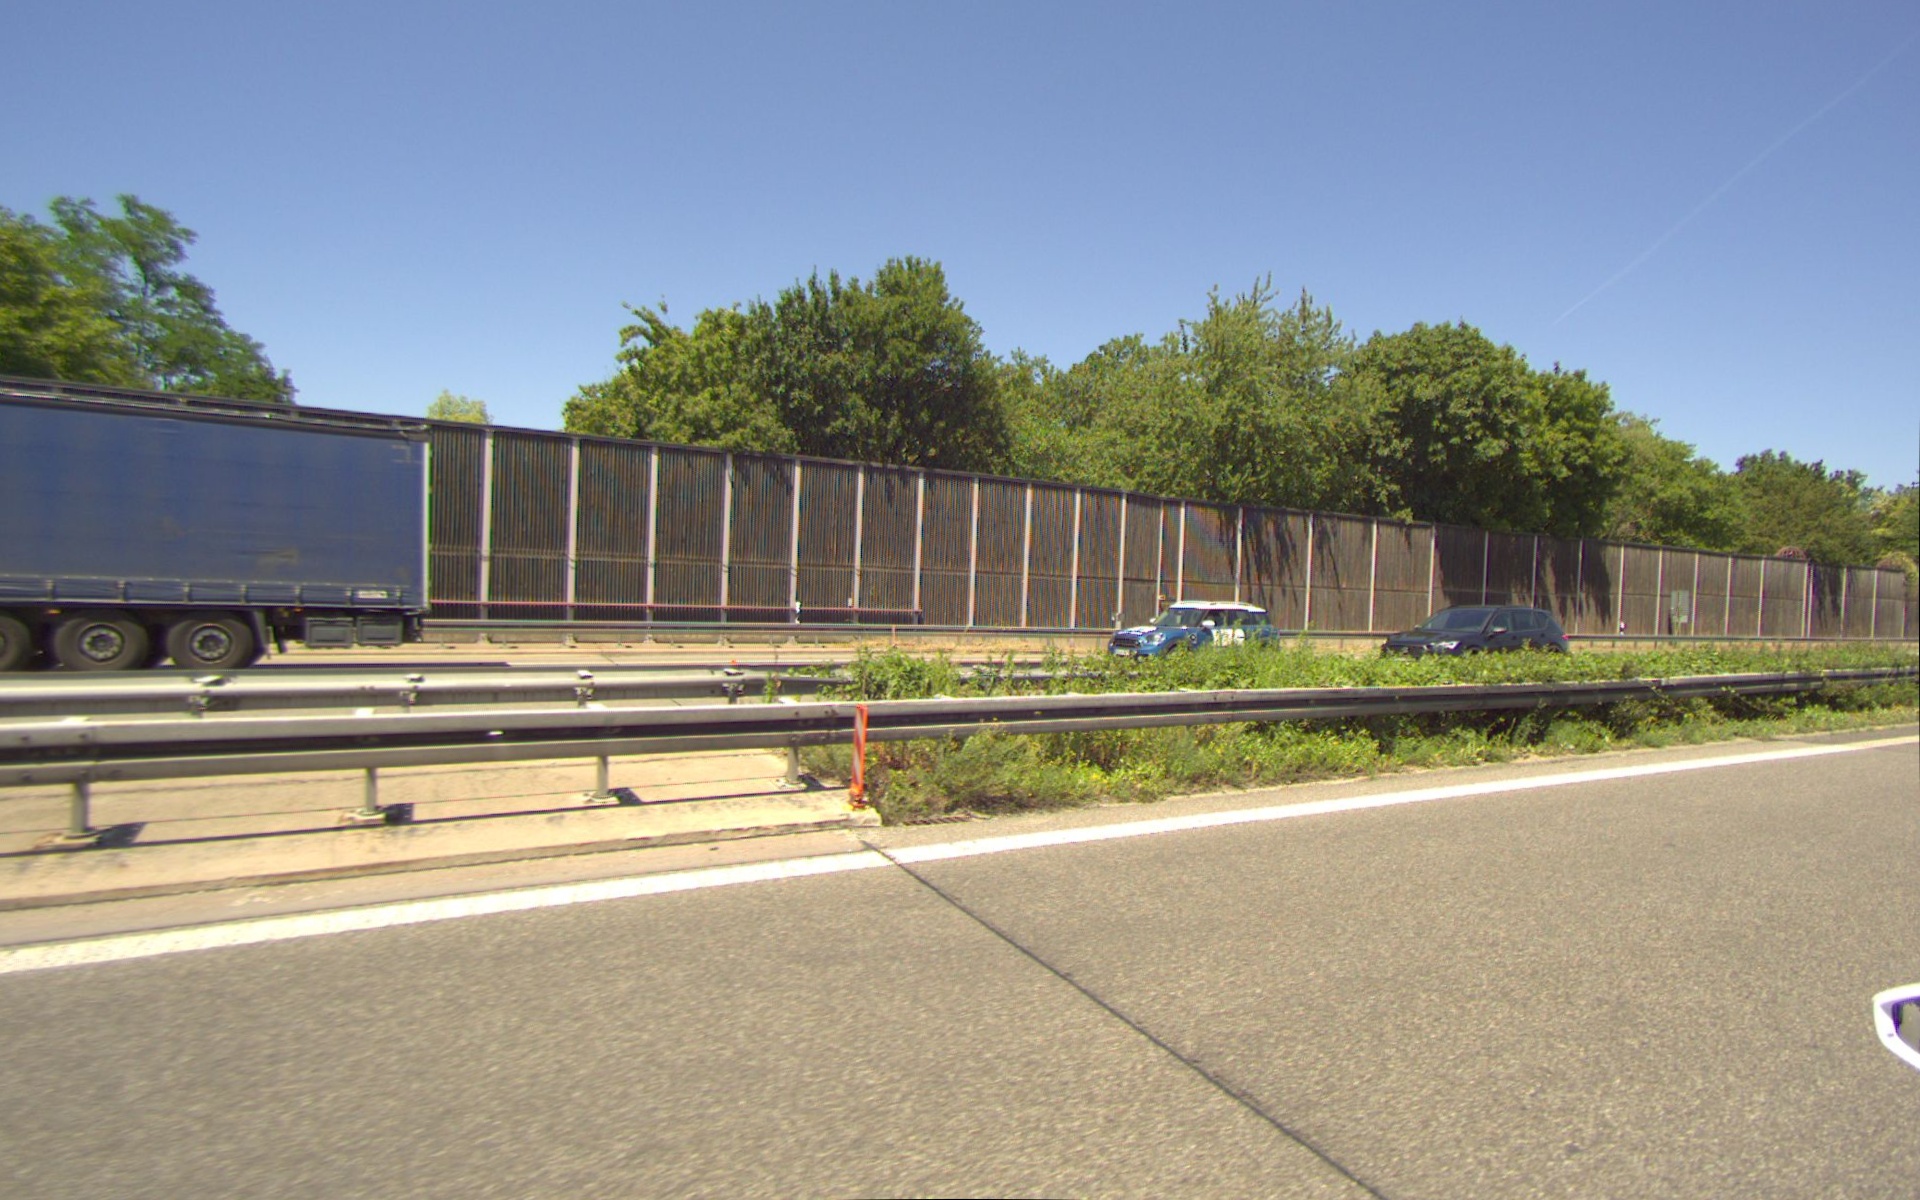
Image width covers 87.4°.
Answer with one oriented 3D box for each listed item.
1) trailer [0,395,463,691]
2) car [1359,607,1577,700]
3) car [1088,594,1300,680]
[{"bbox_3d":[-15.144,-0.823,14.517,14.103,4.142,2.484,1,0,-31],"label":"trailer"},{"bbox_3d":[10.727,1.062,21.158,4.479,1.743,1.984,1,0,-30],"label":"car"},{"bbox_3d":[5.267,0.791,22.500,4.479,1.743,1.984,1,0,-30],"label":"car"}]
